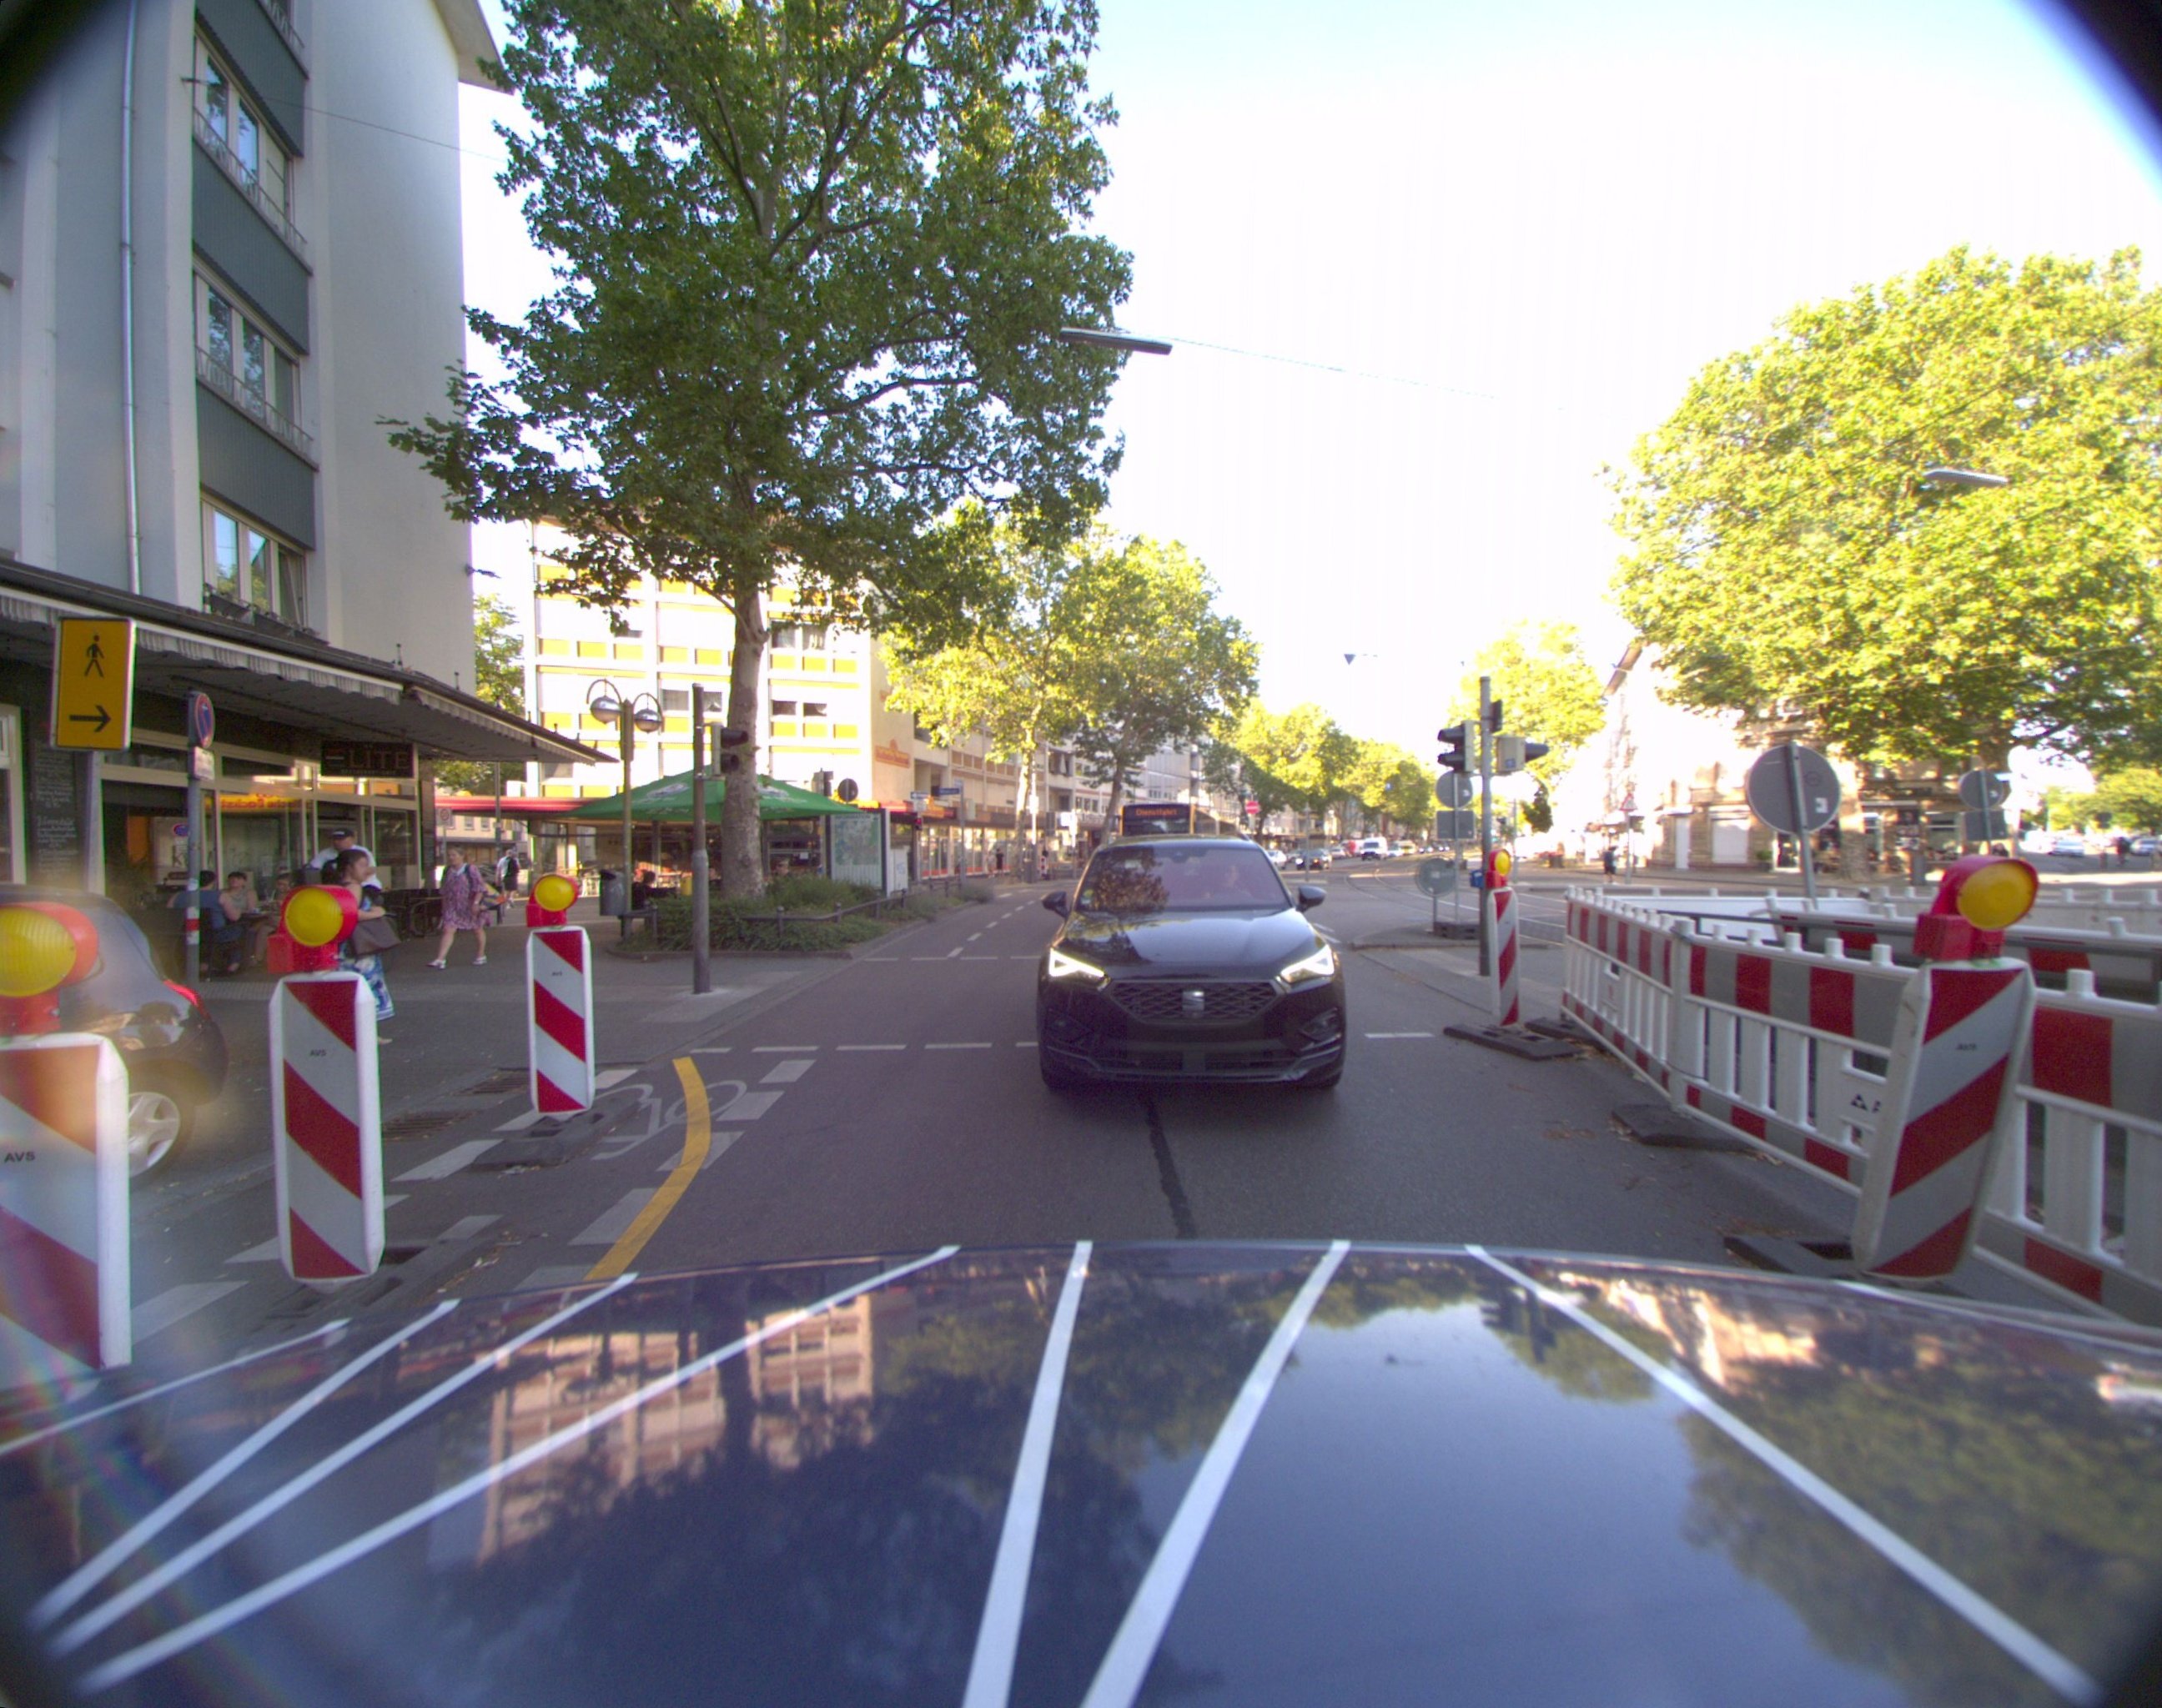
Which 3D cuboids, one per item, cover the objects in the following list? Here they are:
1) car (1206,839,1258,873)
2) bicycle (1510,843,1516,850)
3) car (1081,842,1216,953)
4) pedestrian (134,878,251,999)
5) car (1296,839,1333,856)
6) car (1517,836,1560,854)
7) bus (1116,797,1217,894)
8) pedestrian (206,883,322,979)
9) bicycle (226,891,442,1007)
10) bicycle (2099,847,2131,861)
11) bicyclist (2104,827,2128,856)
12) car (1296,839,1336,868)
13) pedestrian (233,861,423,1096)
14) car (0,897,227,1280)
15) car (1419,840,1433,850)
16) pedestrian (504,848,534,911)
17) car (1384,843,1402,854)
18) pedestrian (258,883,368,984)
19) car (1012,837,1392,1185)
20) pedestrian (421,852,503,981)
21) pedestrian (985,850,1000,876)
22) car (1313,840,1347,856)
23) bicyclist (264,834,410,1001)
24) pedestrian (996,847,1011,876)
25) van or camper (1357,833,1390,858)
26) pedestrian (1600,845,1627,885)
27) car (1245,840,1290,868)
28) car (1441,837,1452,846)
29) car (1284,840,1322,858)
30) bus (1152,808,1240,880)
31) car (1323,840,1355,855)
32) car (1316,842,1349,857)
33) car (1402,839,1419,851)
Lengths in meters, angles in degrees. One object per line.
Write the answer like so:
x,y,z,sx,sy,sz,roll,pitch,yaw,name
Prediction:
9.280,0.097,46.472,1.995,2.002,4.105,0,1,29,car
67.607,-1.164,118.901,0.850,1.186,2.470,0,1,28,bicycle
1.041,0.626,13.374,1.998,1.634,4.075,-1,1,1,car
-10.315,0.946,8.831,0.789,1.299,0.701,0,1,28,pedestrian
28.549,-0.840,93.080,3.994,2.002,2.001,-1,1,8,car
52.527,-1.022,87.229,4.001,2.002,1.997,-1,1,-13,car
3.495,-0.316,28.767,2.718,3.088,8.629,0,1,13,bus
-10.748,0.991,10.021,0.647,1.186,0.792,0,1,7,pedestrian
-8.548,1.038,8.835,0.752,1.123,1.885,2,-1,-6,bicycle
61.132,-0.024,44.921,1.993,0.777,0.680,-1,1,-23,bicycle
61.234,-0.750,44.949,0.766,1.718,0.672,-1,1,-23,bicyclist
16.639,-0.052,53.621,1.995,2.002,4.007,0,1,27,car
-5.687,0.893,5.793,0.583,1.637,0.796,-1,2,-1,pedestrian
-5.198,0.971,2.041,1.771,1.459,3.610,2,1,-2,car
61.042,-1.559,134.330,1.836,1.792,4.138,0,1,31,car
-17.819,0.776,24.079,0.650,1.948,0.887,-2,1,-41,pedestrian
40.764,-0.734,99.189,1.700,1.462,3.771,0,1,31,car
-9.866,0.991,9.777,0.877,1.186,0.701,0,1,24,pedestrian
0.623,0.751,5.709,1.841,1.696,4.000,-1,1,1,car
-8.061,0.791,9.914,0.629,1.628,0.531,-1,1,-15,pedestrian
-4.881,0.506,42.077,0.627,1.429,0.532,0,1,20,pedestrian
32.436,-0.765,99.035,3.994,2.002,2.001,0,1,8,car
-8.533,0.686,8.766,0.753,1.816,0.925,0,2,-6,bicyclist
-4.276,0.413,41.869,0.627,1.577,0.532,0,1,20,pedestrian
33.545,-0.965,87.052,2.420,2.702,6.144,0,1,32,van or camper
20.352,0.407,29.044,0.603,1.524,0.745,0,1,12,pedestrian
13.653,-0.023,55.414,1.994,2.002,4.008,0,1,33,car
79.071,-2.723,164.380,1.836,1.792,4.138,0,1,31,car
24.922,-0.603,85.388,3.991,2.002,2.003,0,1,18,car
5.830,-0.463,37.158,2.717,3.088,8.608,0,1,19,bus
36.596,-0.927,107.971,3.994,2.002,2.001,-1,1,8,car
34.321,-0.646,103.794,3.994,2.002,2.001,-1,1,8,car
48.699,-1.323,112.226,1.836,1.792,4.138,0,1,31,car
